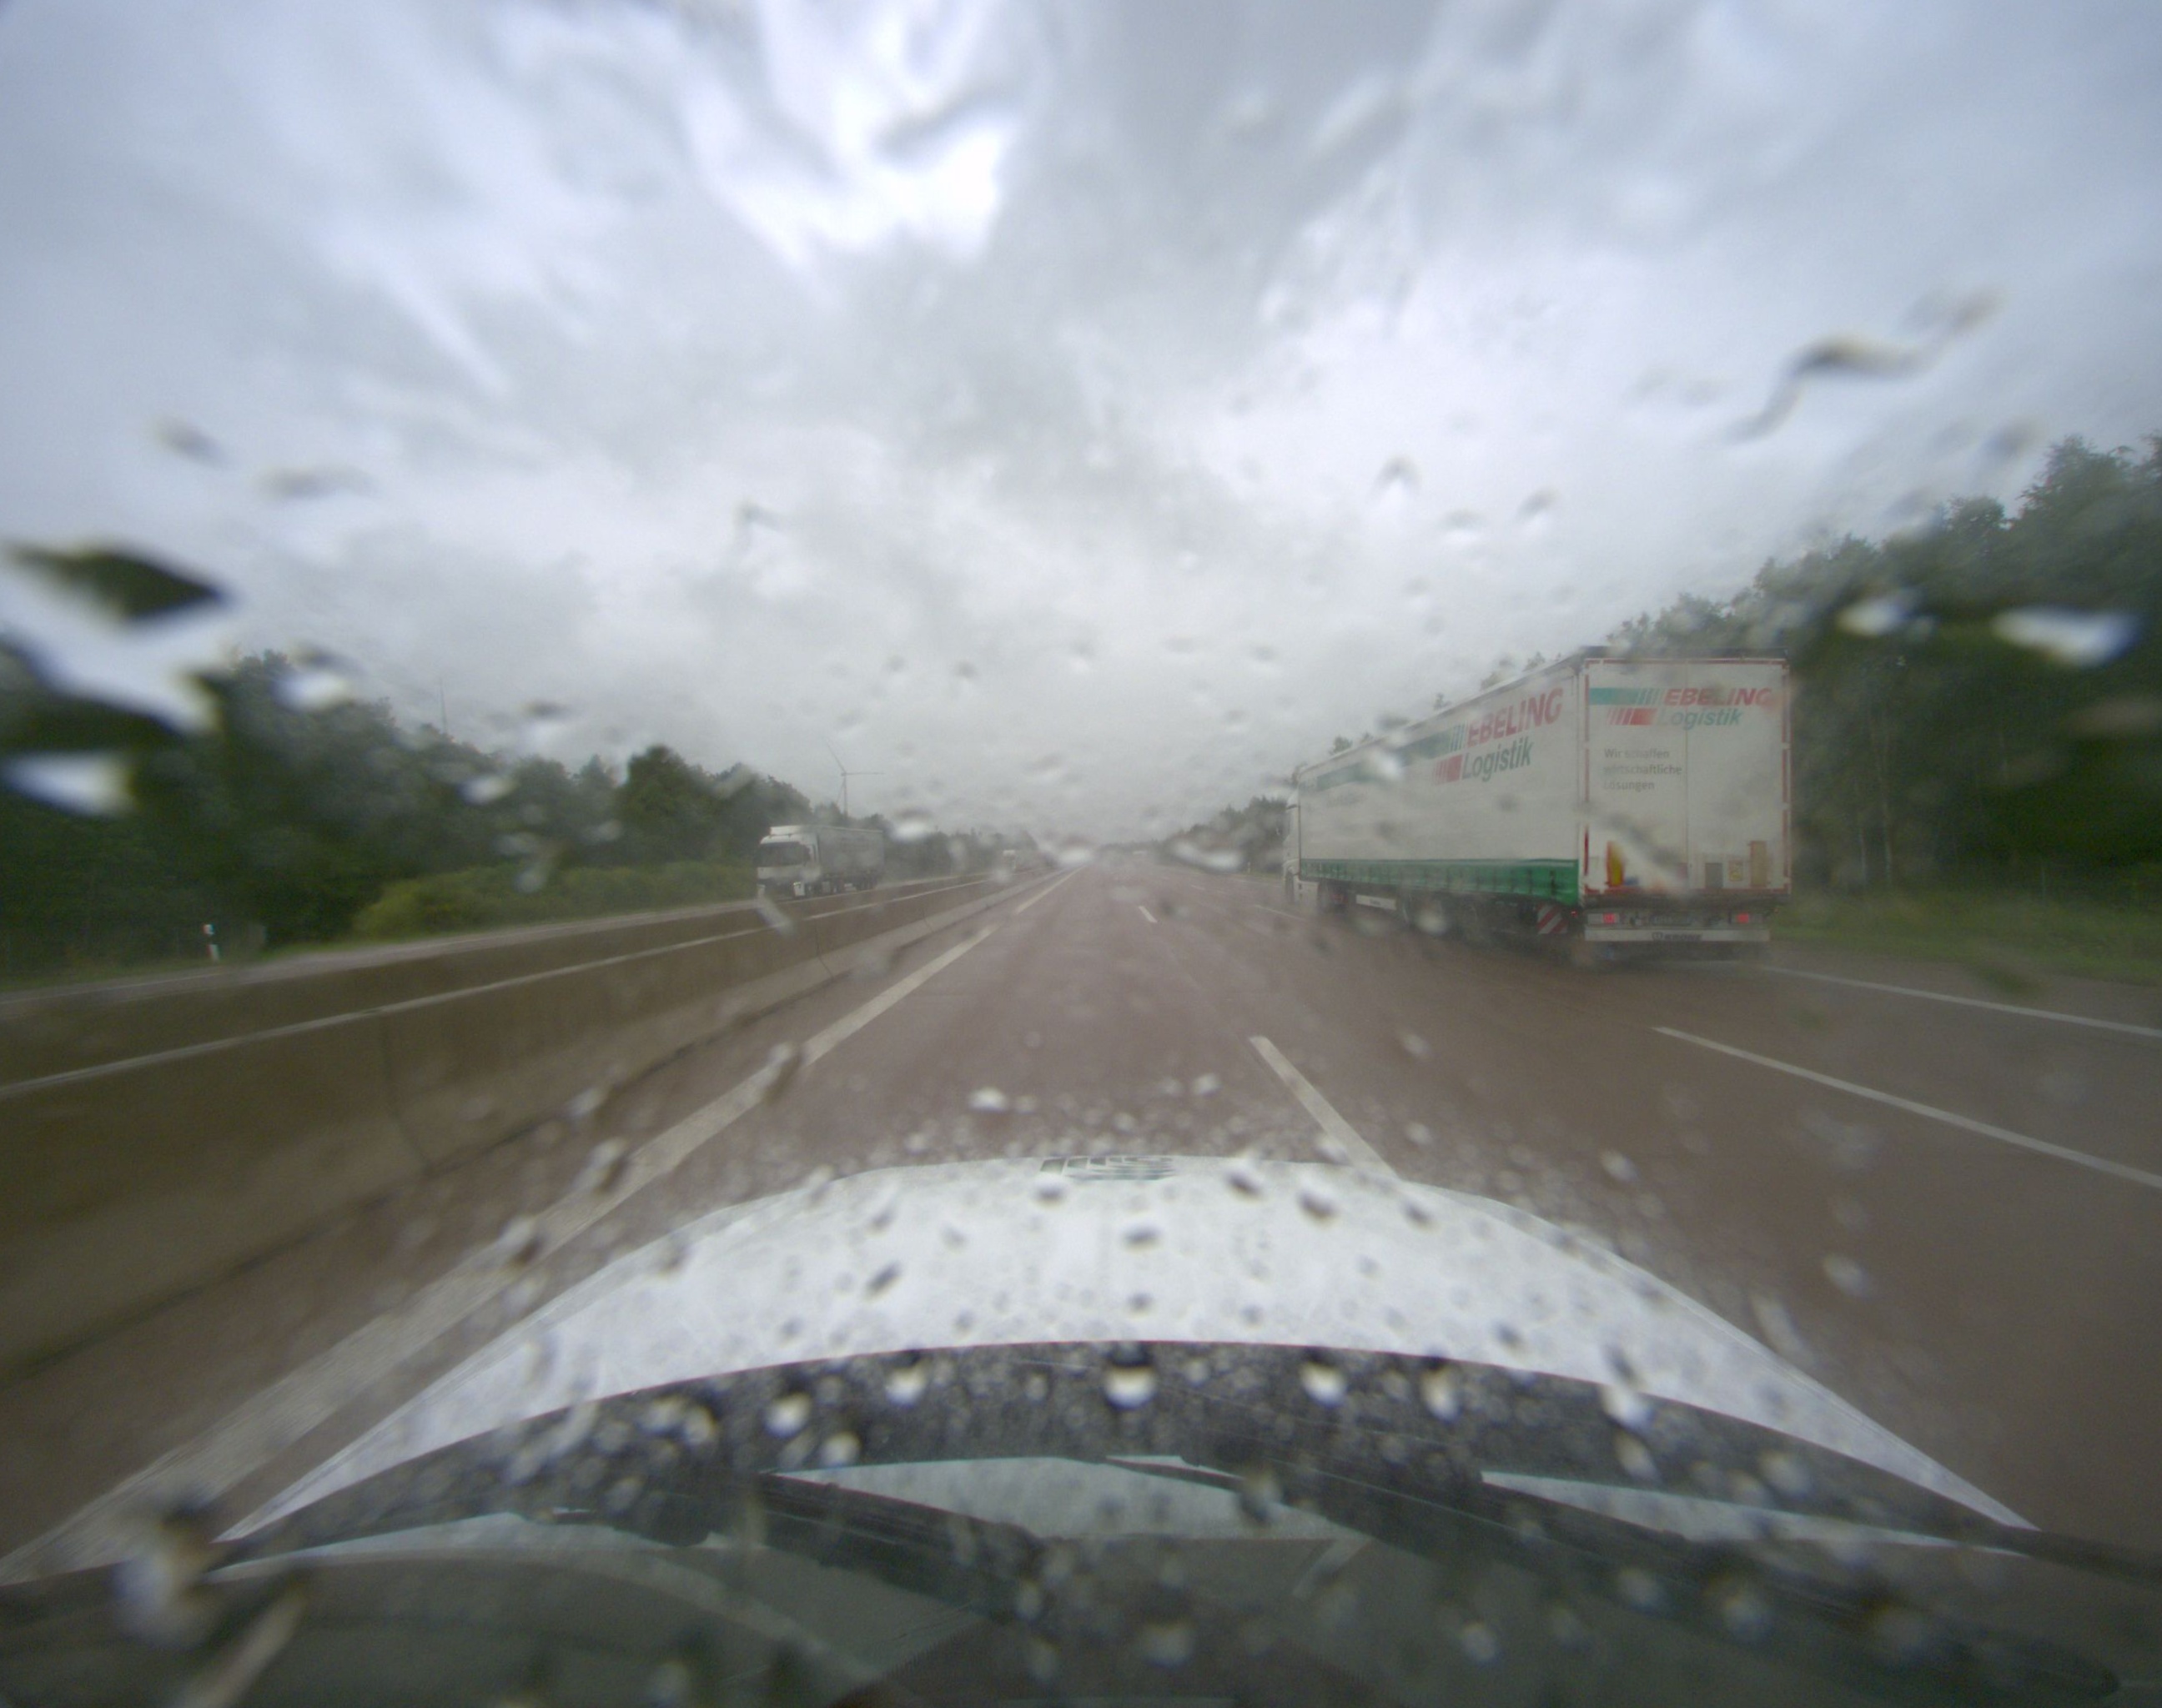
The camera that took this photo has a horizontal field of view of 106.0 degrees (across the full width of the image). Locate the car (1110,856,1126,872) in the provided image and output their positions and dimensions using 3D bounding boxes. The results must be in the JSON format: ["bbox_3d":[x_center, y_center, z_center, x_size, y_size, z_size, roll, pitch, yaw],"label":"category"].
[{"bbox_3d":[5.206,1.383,114.261,2.165,1.981,4.131,-3,0,2],"label":"car"}]

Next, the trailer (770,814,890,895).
[{"bbox_3d":[-15.454,0.093,51.593,3.418,4.466,12.448,0,-1,1],"label":"trailer"}]

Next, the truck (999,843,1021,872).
[{"bbox_3d":[-13.695,0.679,158.012,3.407,5.379,8.158,0,-1,1],"label":"truck"}]

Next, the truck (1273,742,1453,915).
[{"bbox_3d":[7.660,-0.650,23.147,2.870,4.106,6.350,-3,0,1],"label":"truck"}]

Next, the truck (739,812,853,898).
[{"bbox_3d":[-15.637,0.094,45.461,3.407,4.360,7.948,0,-1,1],"label":"truck"}]

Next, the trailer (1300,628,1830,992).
[{"bbox_3d":[7.571,-0.570,16.333,2.843,4.231,13.133,-3,0,1],"label":"trailer"}]
